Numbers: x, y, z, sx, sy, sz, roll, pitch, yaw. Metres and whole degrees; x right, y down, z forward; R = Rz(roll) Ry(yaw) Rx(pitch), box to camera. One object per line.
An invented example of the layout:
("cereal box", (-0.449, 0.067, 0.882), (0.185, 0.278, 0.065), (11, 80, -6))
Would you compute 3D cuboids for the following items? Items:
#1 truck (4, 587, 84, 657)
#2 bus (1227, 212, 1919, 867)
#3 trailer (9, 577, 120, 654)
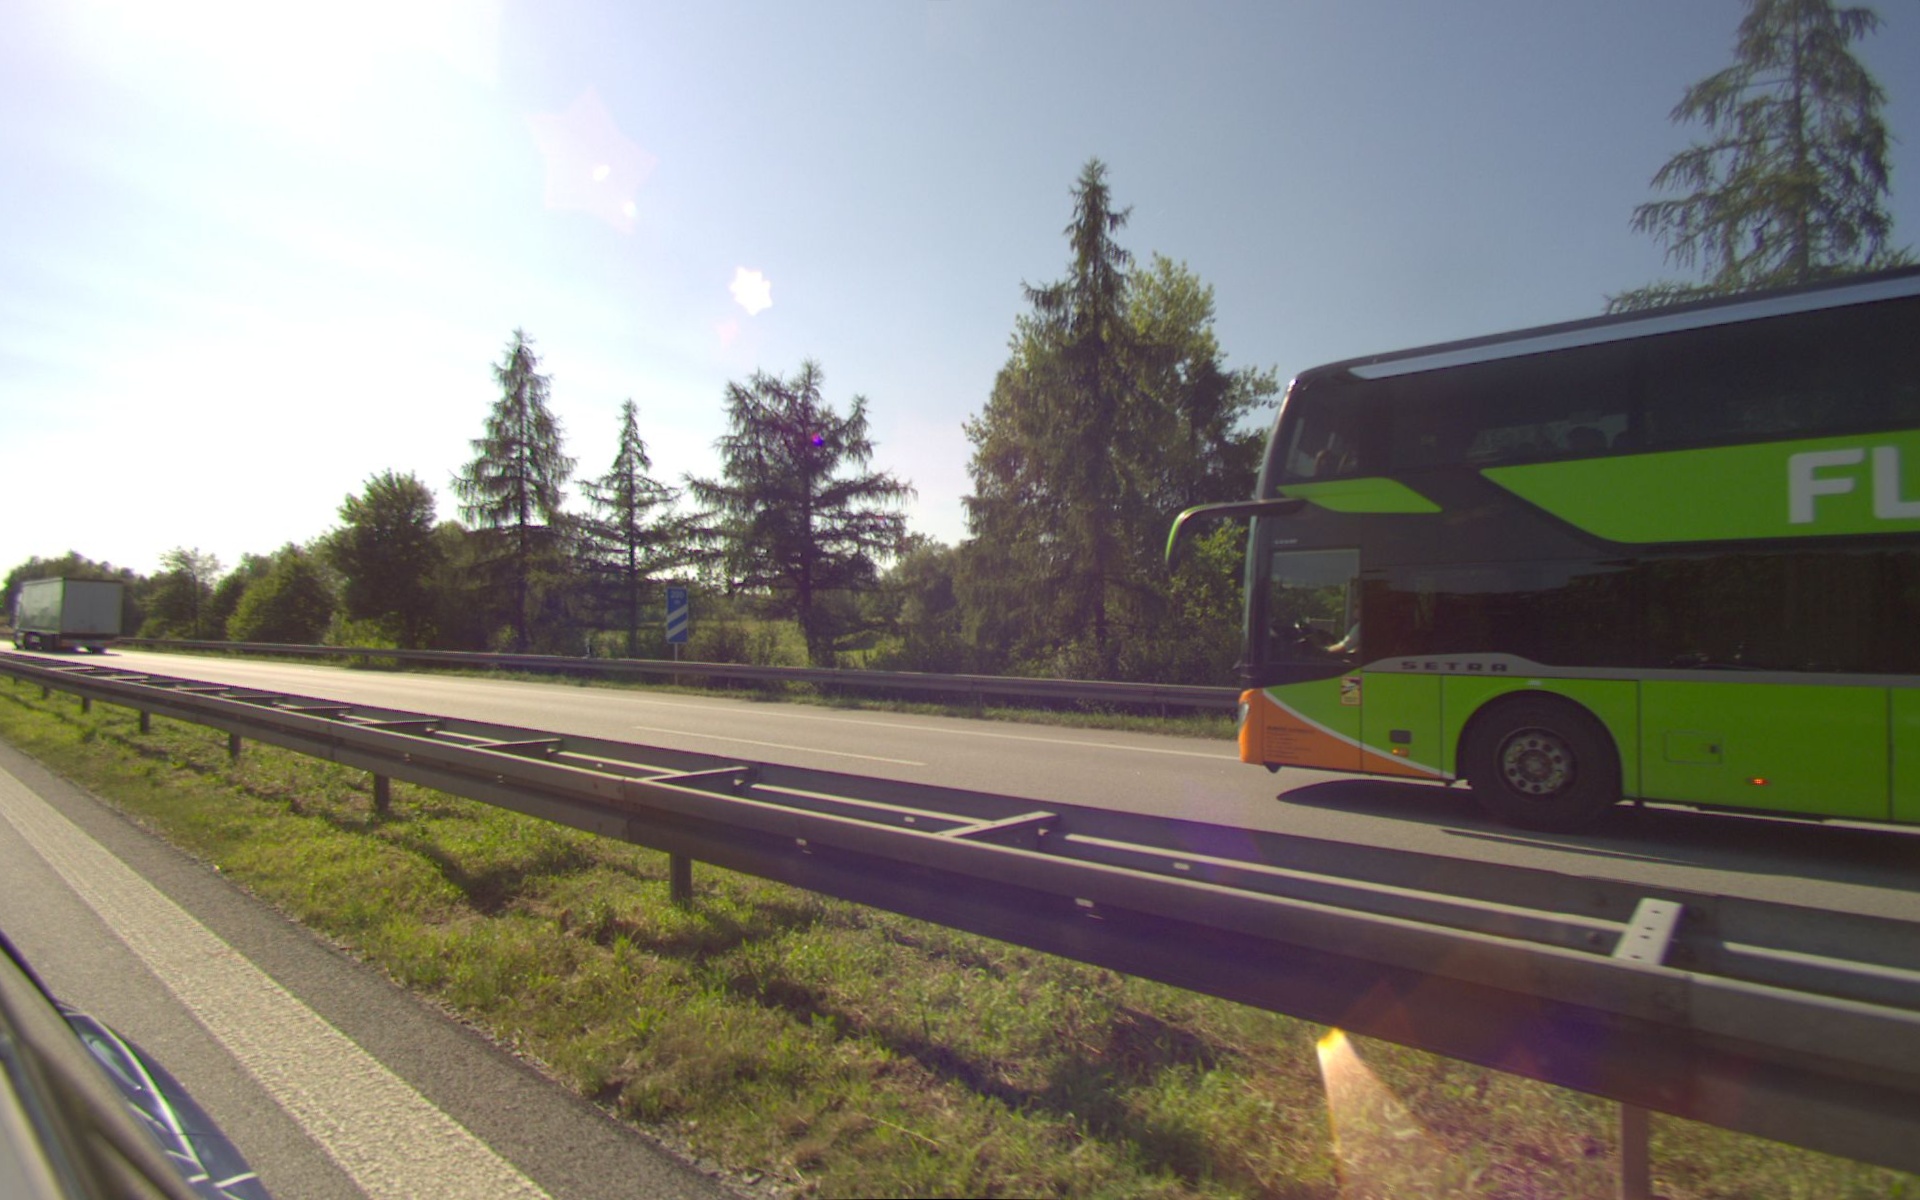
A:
("truck", (-55.841, 1.391, 61.637), (7.188, 4.039, 2.616), (-1, -3, 41))
("bus", (8.933, -0.385, 5.637), (14.660, 4.085, 2.906), (-1, -3, 41))
("trailer", (-51.555, 0.967, 58.062), (14.076, 4.039, 2.634), (-1, -3, 40))
